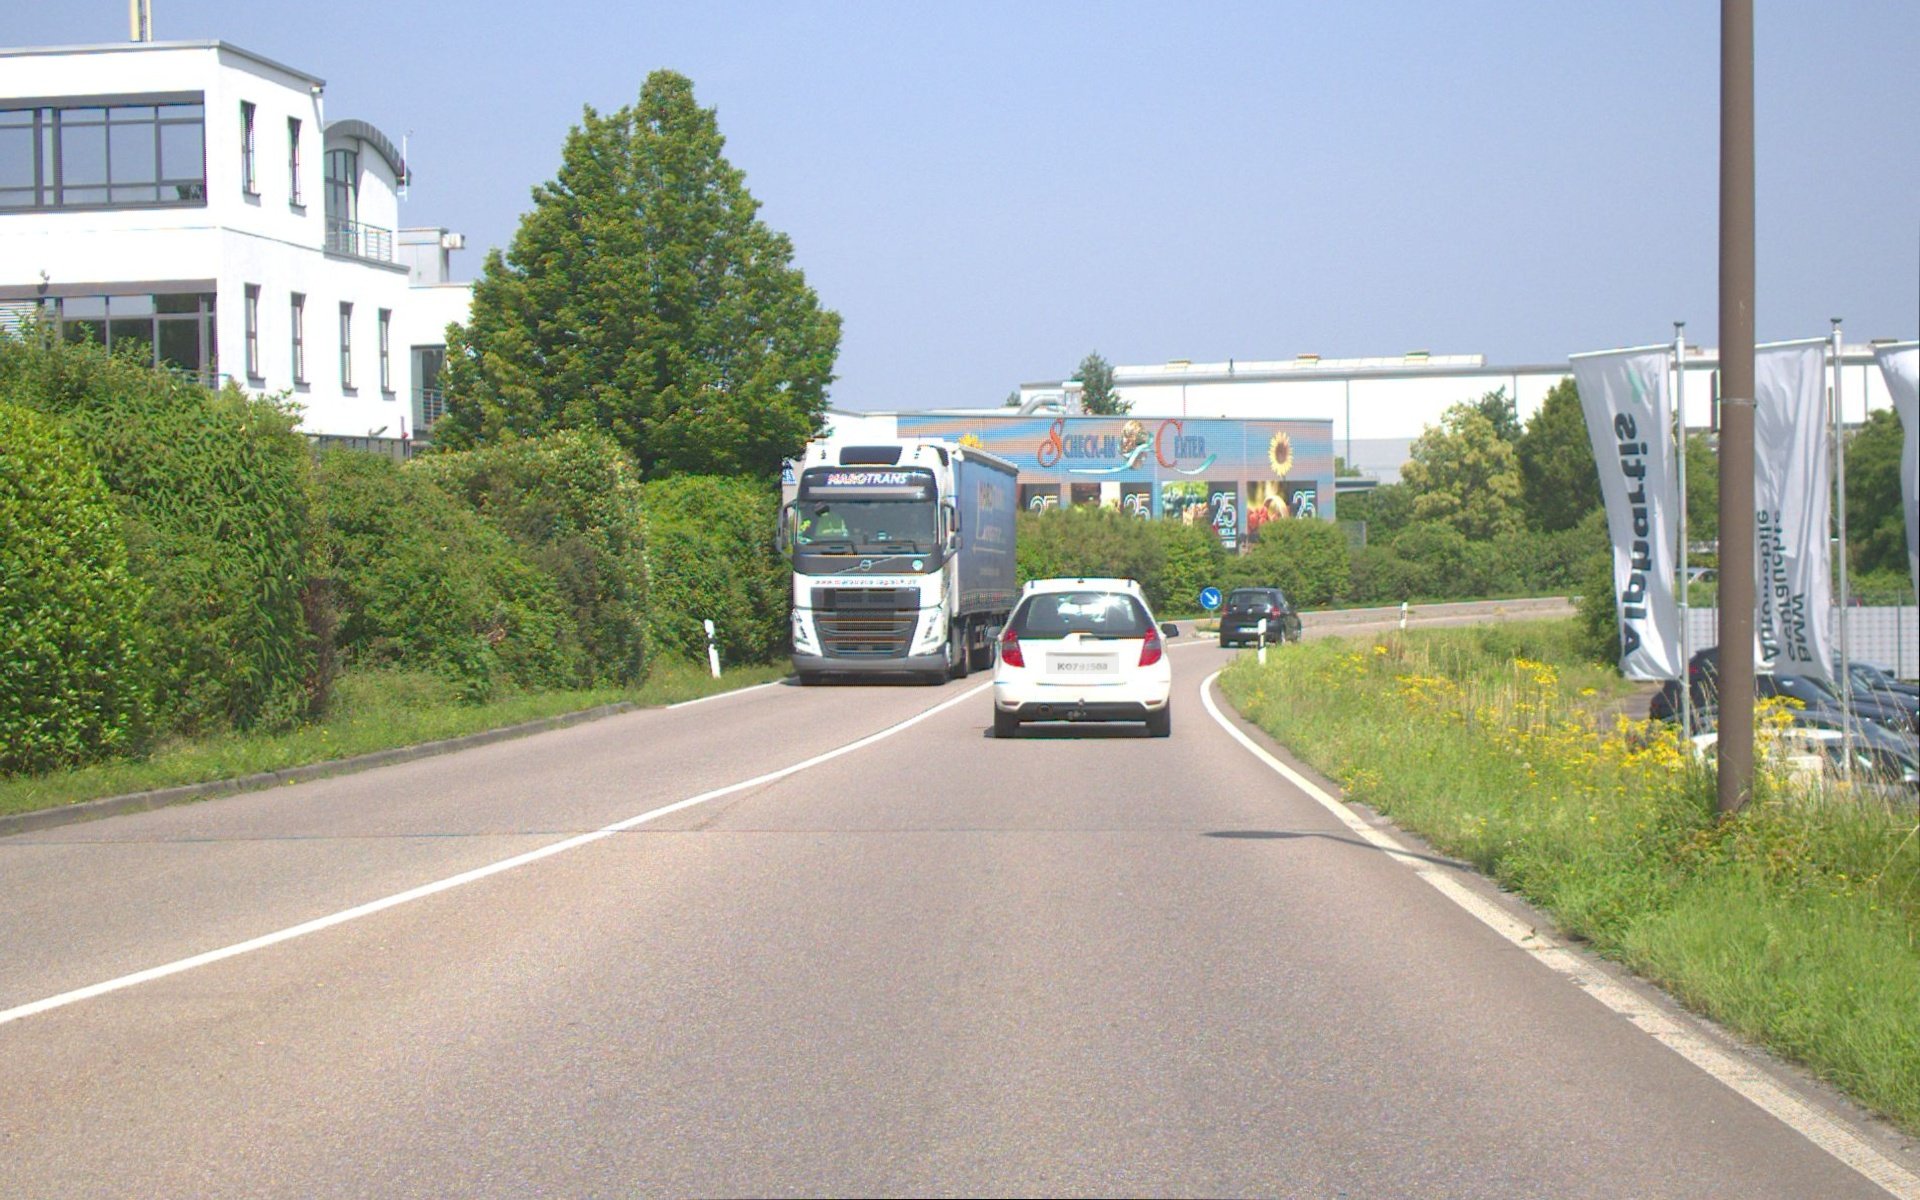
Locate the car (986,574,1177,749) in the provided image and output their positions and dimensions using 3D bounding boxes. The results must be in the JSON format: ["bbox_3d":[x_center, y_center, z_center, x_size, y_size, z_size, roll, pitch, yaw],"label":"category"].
[{"bbox_3d":[1.256,0.576,35.109,1.781,1.598,3.893,2,1,2],"label":"car"}]

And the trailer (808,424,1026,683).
[{"bbox_3d":[-0.572,-0.780,63.869,2.670,4.227,14.563,1,0,5],"label":"trailer"}]

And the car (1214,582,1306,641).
[{"bbox_3d":[7.725,0.280,88.129,1.829,1.465,4.407,0,0,12],"label":"car"}]

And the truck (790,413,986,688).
[{"bbox_3d":[-1.103,-0.775,56.820,2.513,4.243,6.112,-1,0,5],"label":"truck"}]

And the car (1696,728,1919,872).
[{"bbox_3d":[10.937,2.347,40.336,4.167,1.518,1.687,0,0,36],"label":"car"}]

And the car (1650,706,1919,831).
[{"bbox_3d":[11.689,2.262,46.651,4.166,1.518,1.853,0,0,31],"label":"car"}]

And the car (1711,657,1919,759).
[{"bbox_3d":[16.578,2.013,65.050,4.232,1.695,1.915,1,2,40],"label":"car"}]

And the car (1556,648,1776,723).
[{"bbox_3d":[16.324,1.950,79.544,4.636,1.599,1.853,0,1,31],"label":"car"}]

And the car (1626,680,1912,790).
[{"bbox_3d":[14.494,2.391,61.702,4.638,1.695,1.853,1,2,37],"label":"car"}]

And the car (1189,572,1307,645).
[{"bbox_3d":[8.176,0.228,97.273,1.996,2.007,3.994,0,0,26],"label":"car"}]

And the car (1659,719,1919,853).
[{"bbox_3d":[11.178,2.341,43.660,4.166,1.518,1.748,0,0,32],"label":"car"}]

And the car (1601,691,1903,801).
[{"bbox_3d":[12.248,2.231,53.233,4.166,1.518,1.853,0,0,32],"label":"car"}]
